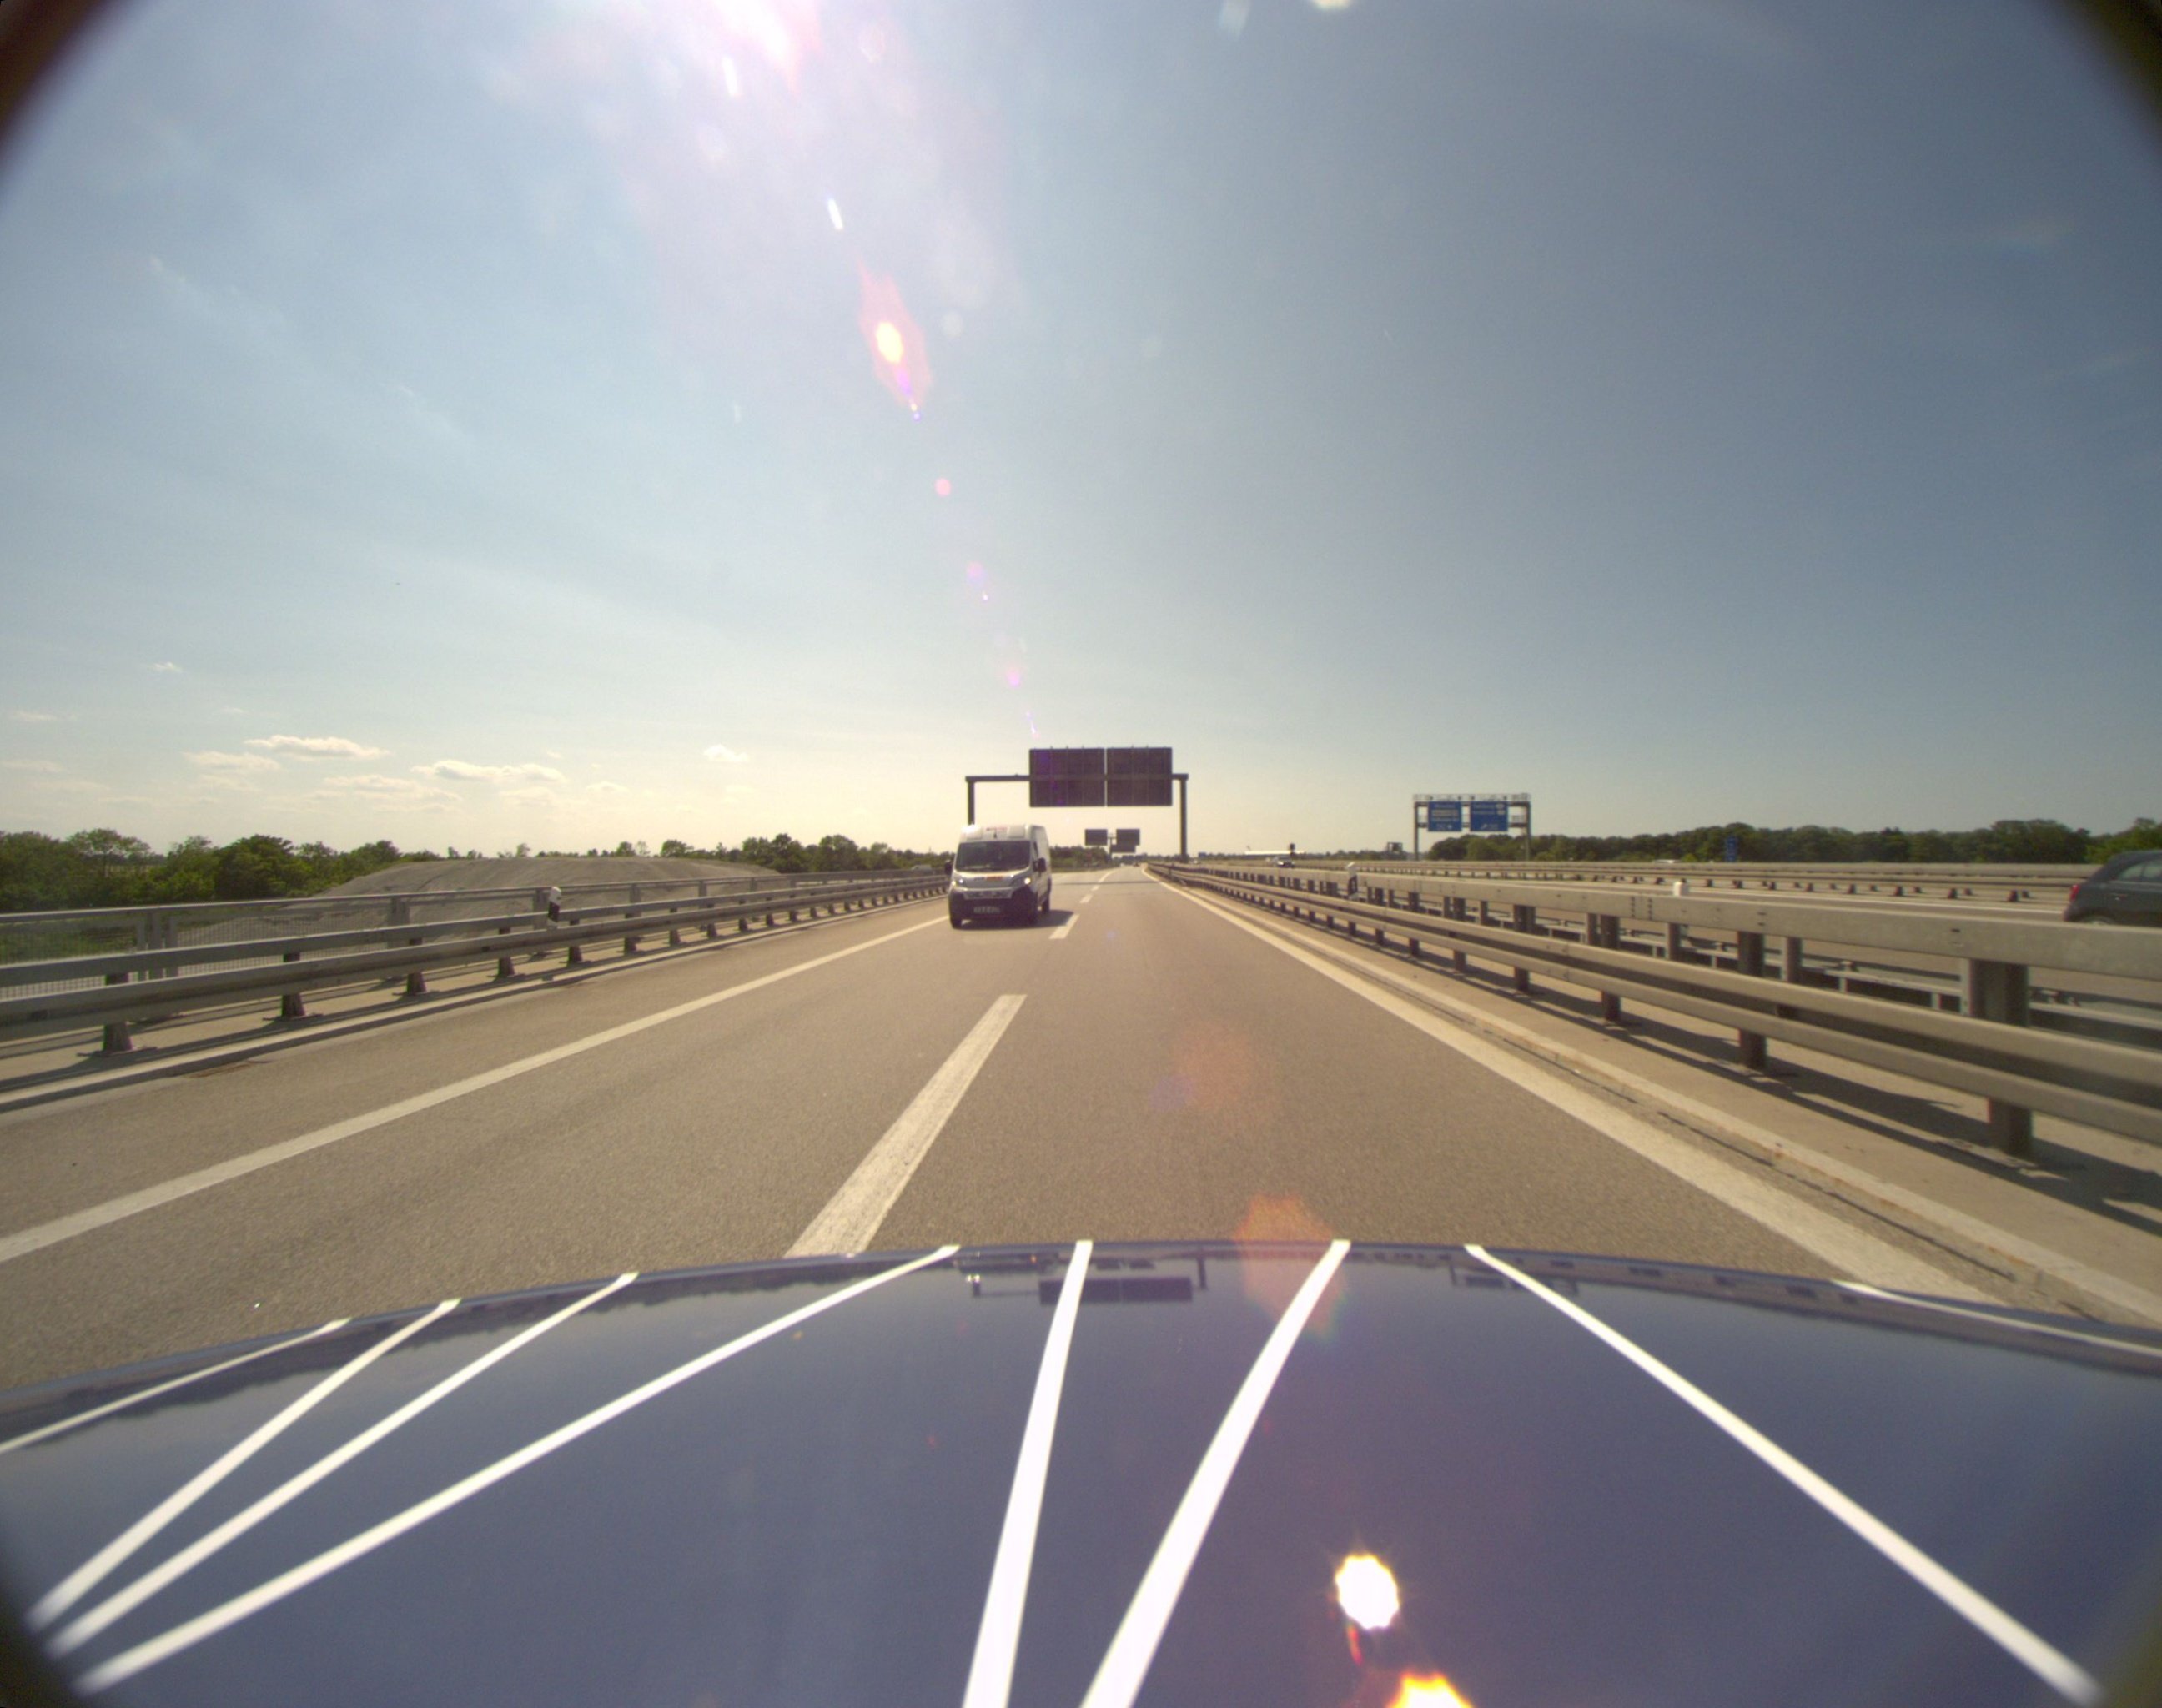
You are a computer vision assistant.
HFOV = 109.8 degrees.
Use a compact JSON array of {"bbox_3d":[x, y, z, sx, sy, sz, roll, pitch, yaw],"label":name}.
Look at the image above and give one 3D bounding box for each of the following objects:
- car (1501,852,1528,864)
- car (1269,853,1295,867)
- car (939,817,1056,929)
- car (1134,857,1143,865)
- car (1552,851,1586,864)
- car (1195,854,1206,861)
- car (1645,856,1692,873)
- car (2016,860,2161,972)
[{"bbox_3d":[55.962,0.519,98.076,1.582,1.347,3.343,0,2,2],"label":"car"},{"bbox_3d":[22.394,0.681,84.692,1.842,1.508,4.576,-1,0,3],"label":"car"},{"bbox_3d":[-1.988,0.458,20.260,2.087,2.509,6.239,-1,0,3],"label":"car"},{"bbox_3d":[13.764,1.714,182.690,1.998,1.744,4.001,-1,0,4],"label":"car"},{"bbox_3d":[53.731,0.392,83.711,1.582,1.347,3.343,0,2,2],"label":"car"},{"bbox_3d":[26.895,0.690,171.089,1.842,1.508,4.576,-1,0,3],"label":"car"},{"bbox_3d":[51.521,0.887,66.669,1.582,1.347,3.343,0,2,2],"label":"car"},{"bbox_3d":[15.251,0.836,9.578,1.834,1.424,4.217,-1,0,3],"label":"car"}]
